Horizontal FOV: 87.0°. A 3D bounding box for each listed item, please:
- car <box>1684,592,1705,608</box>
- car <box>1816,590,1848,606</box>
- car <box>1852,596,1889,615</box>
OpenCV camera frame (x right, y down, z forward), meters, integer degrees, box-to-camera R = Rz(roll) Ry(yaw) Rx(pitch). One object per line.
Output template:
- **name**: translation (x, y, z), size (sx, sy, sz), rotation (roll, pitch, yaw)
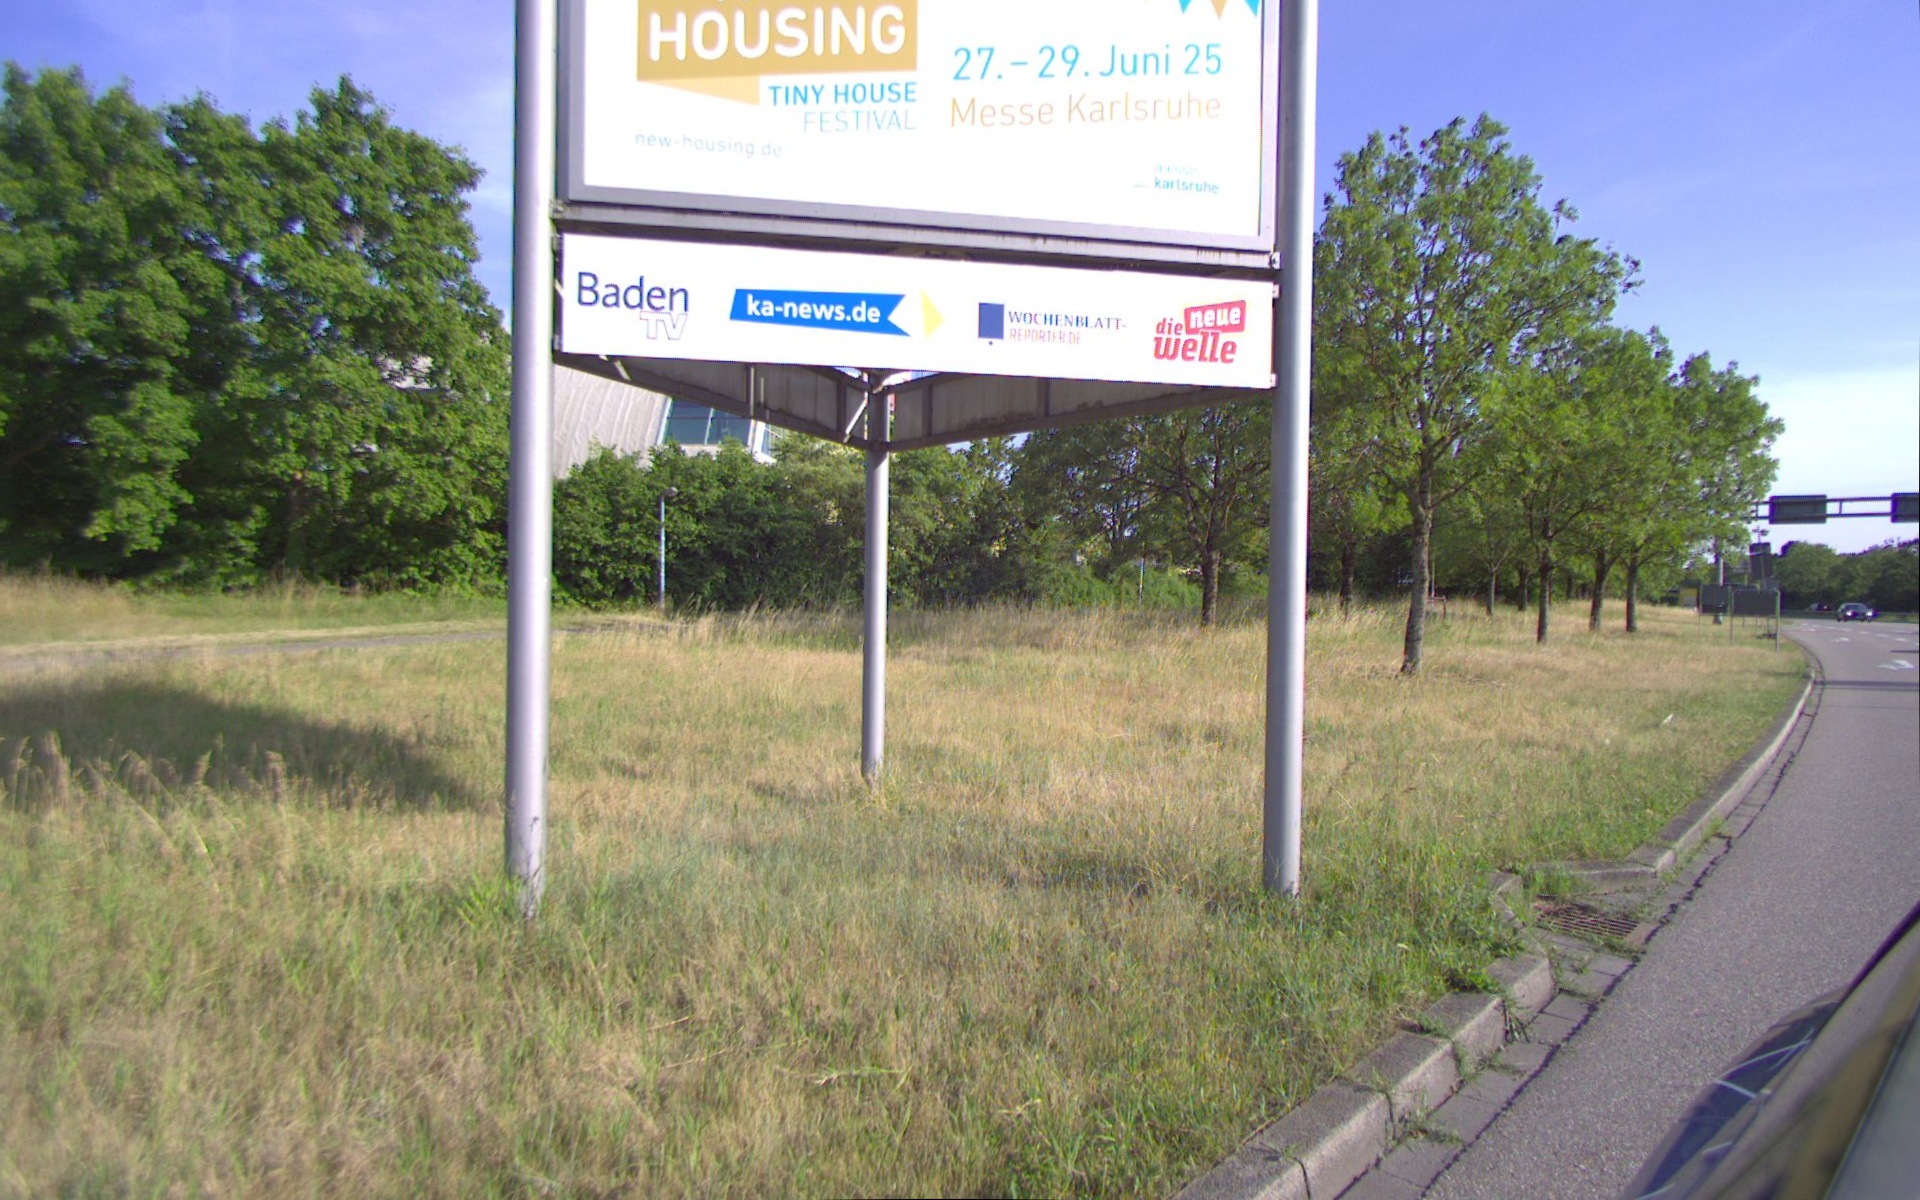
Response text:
- **car**: translation (101.887, -0.029, 140.426), size (1.845, 2.039, 4.135), rotation (-1, 0, 29)
- **car**: translation (117.618, -0.243, 136.597), size (1.980, 2.039, 5.309), rotation (1, 1, 26)
- **car**: translation (72.429, 0.418, 80.526), size (1.886, 1.474, 3.855), rotation (1, 1, 38)
